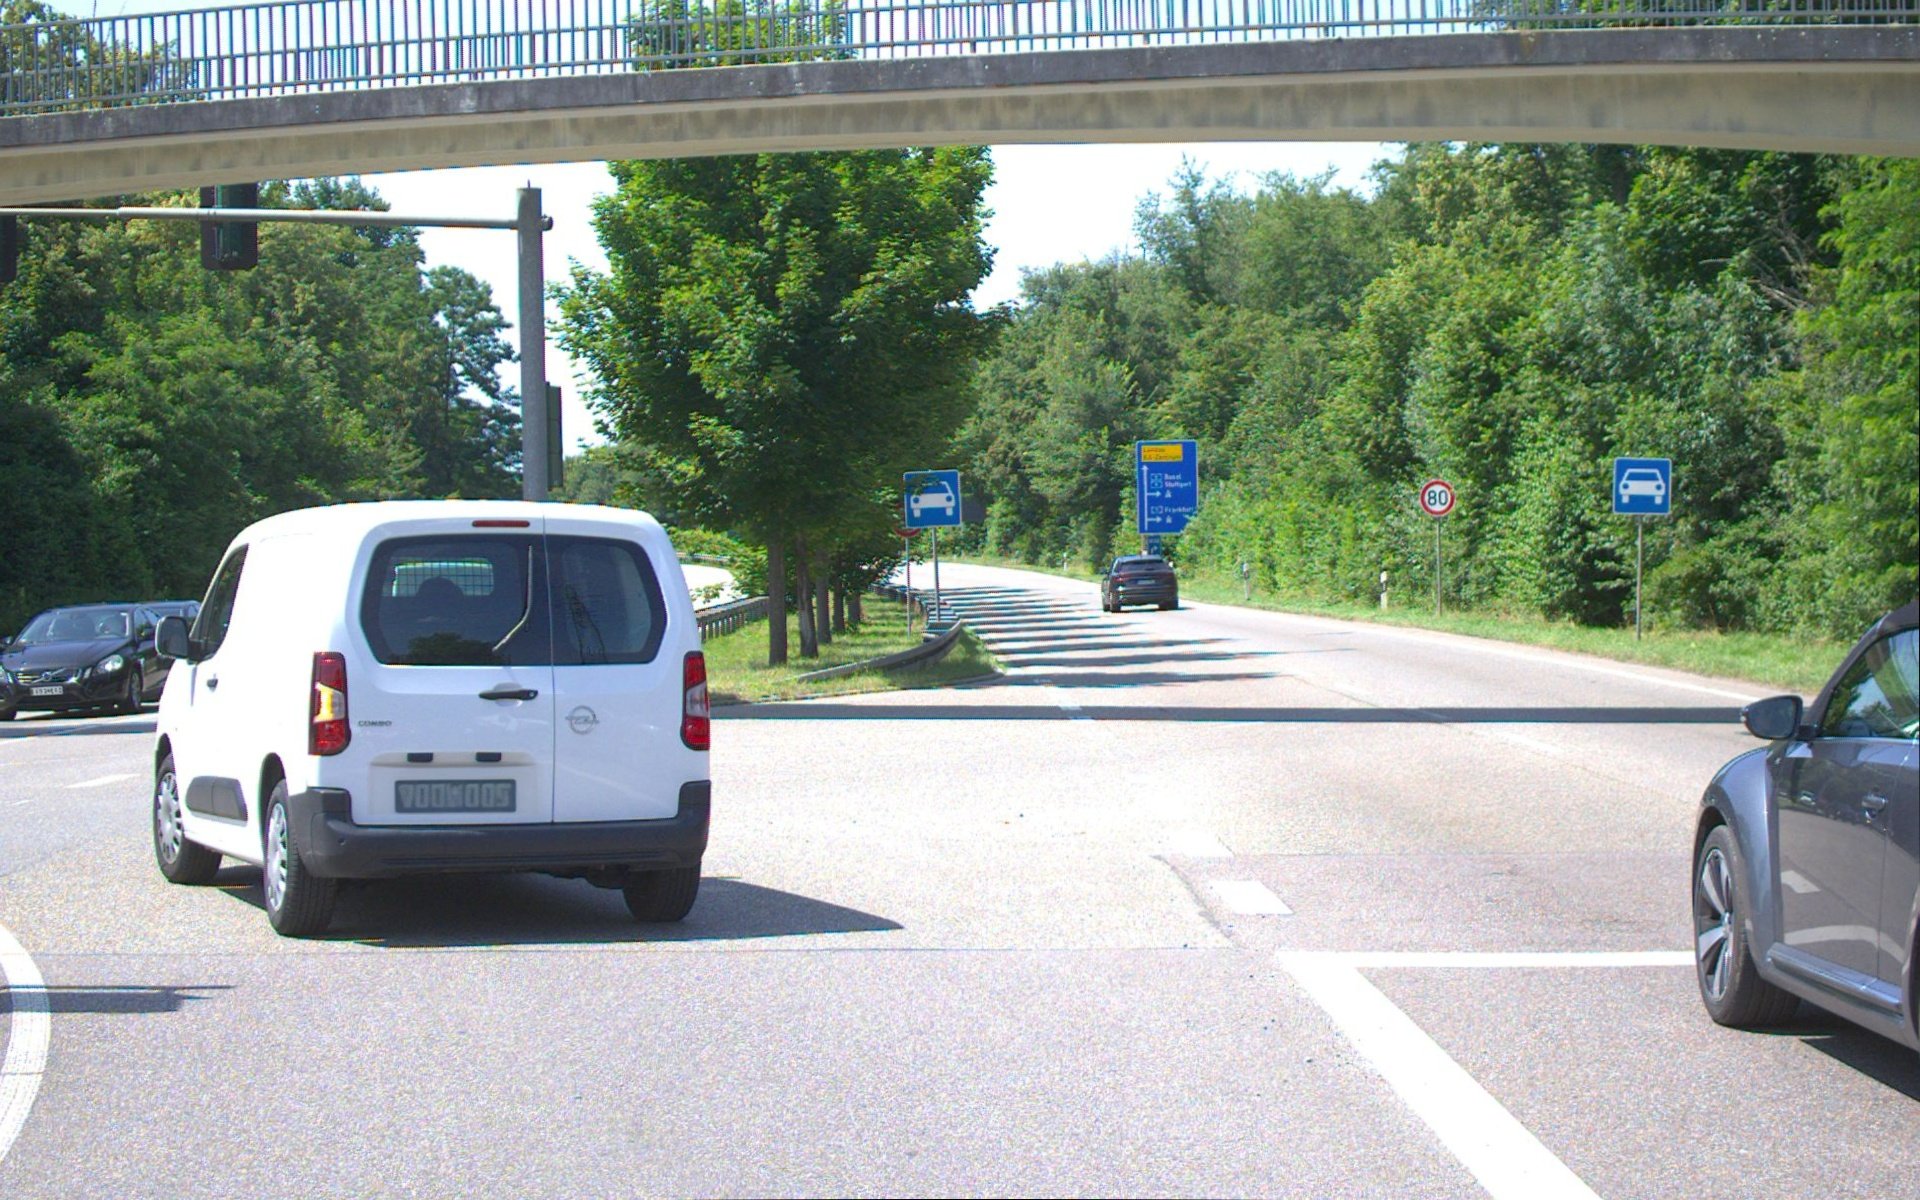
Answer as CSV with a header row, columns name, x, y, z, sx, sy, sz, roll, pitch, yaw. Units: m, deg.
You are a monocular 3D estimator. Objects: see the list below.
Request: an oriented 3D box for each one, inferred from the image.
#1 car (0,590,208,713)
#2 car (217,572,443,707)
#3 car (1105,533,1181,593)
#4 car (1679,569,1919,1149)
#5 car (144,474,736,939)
name,x,y,z,sx,sy,sz,roll,pitch,yaw
car,-11.297,0.642,44.890,2.008,1.455,4.055,-2,0,0
car,-7.667,0.442,42.198,1.993,1.518,4.028,-2,0,0
car,5.398,-1.117,101.984,2.042,1.693,5.086,-1,1,1
car,3.416,0.667,9.776,1.900,1.473,3.939,1,1,0
car,-2.497,0.441,15.631,1.848,1.819,3.982,0,-1,-21
